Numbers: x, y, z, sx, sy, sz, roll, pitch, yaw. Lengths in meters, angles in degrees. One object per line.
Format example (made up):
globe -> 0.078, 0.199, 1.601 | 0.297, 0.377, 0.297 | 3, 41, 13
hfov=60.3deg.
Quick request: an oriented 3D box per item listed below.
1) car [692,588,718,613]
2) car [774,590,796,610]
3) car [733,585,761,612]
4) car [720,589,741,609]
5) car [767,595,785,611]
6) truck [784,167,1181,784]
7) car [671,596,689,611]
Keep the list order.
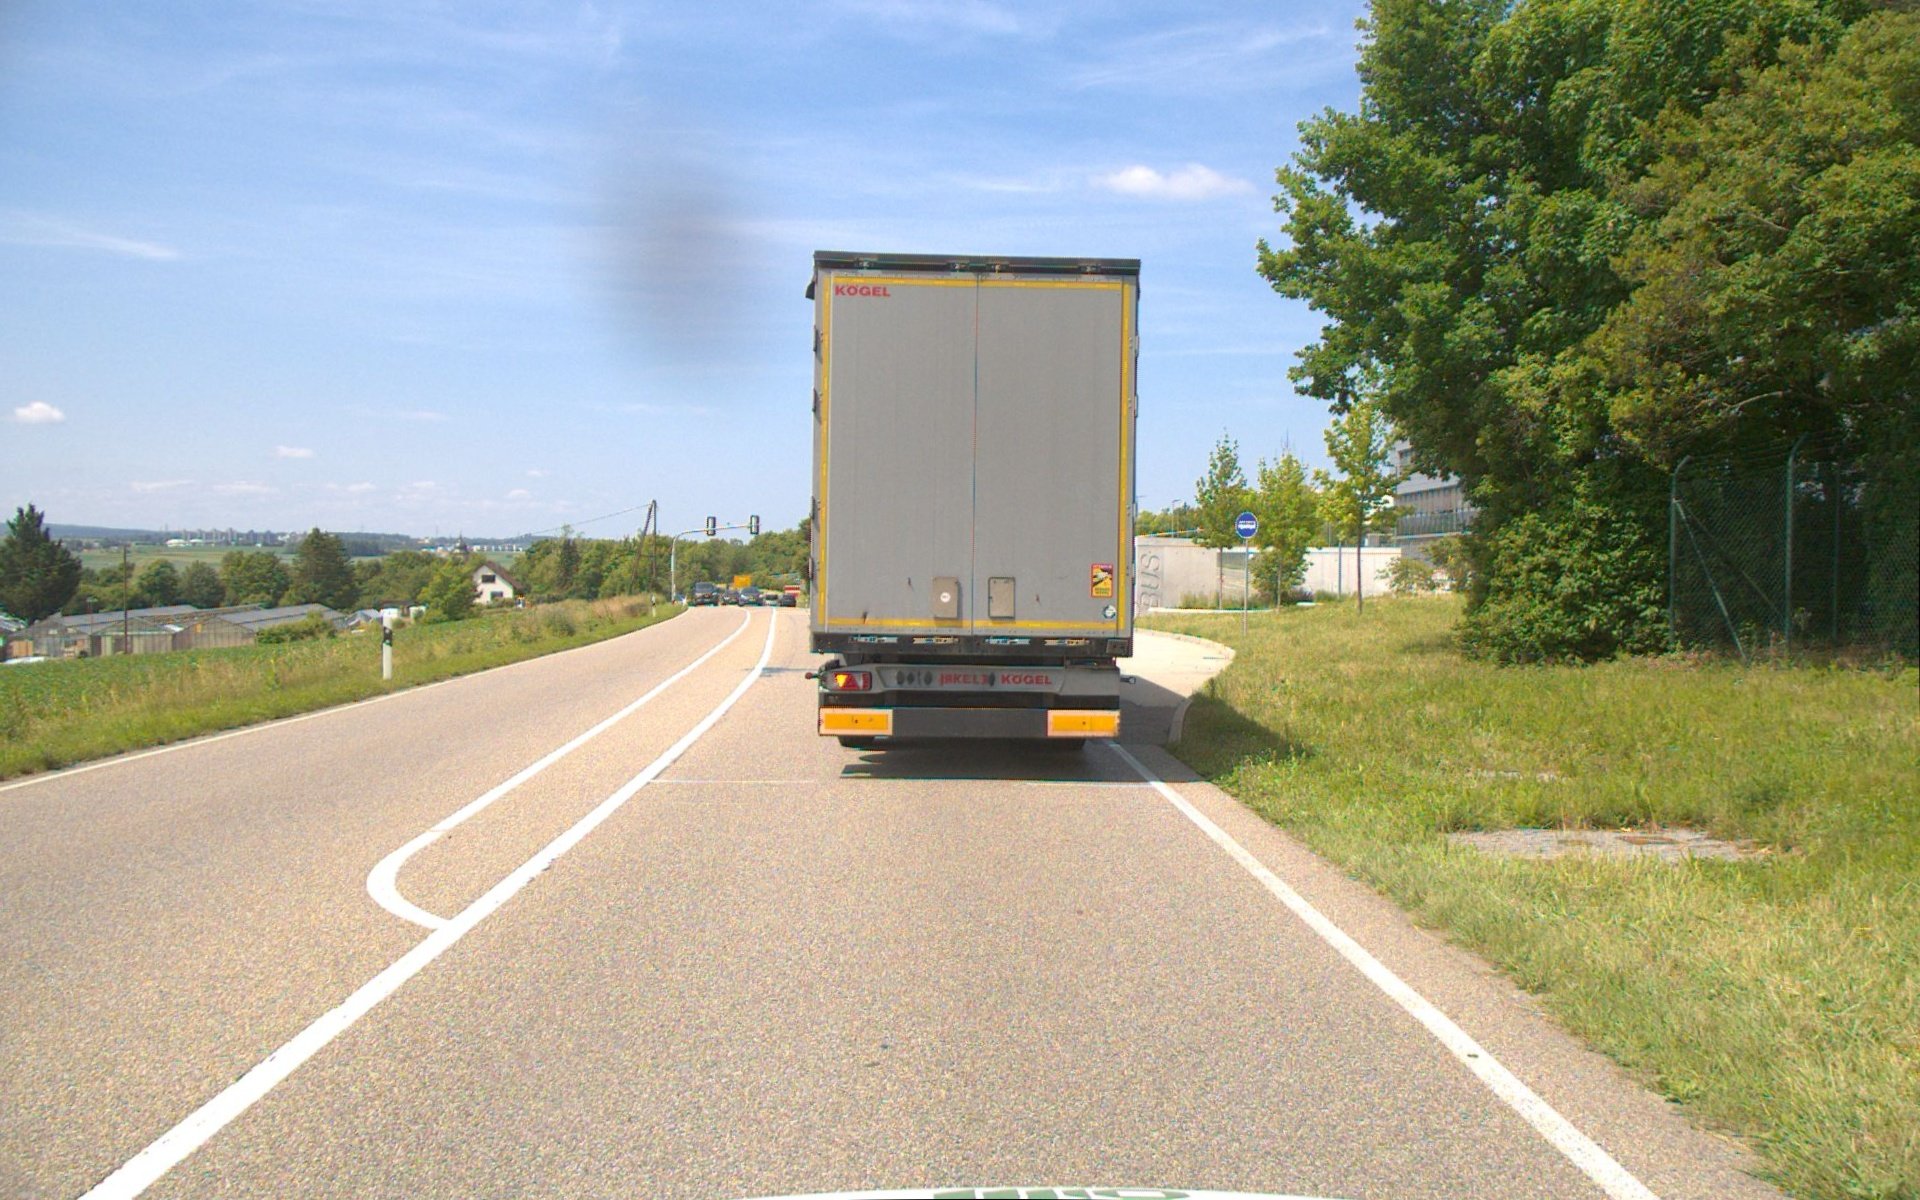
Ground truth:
car -> -21.410, -0.007, 138.942 | 1.956, 2.013, 5.270 | -2, 1, -8
car -> -18.631, 0.029, 176.147 | 2.129, 2.049, 4.522 | -2, 1, -5
car -> -16.381, -0.160, 127.386 | 1.955, 1.984, 4.498 | -2, 0, -5
car -> -22.426, -0.152, 161.790 | 1.956, 1.847, 4.289 | -2, 1, -7
car -> -21.841, 0.377, 196.406 | 1.855, 1.808, 4.382 | -2, 1, -5
truck -> 0.000, -0.945, 16.610 | 2.849, 4.487, 8.856 | 1, 0, -2
car -> -34.693, 0.437, 204.881 | 1.956, 1.819, 3.994 | -2, 0, -7
